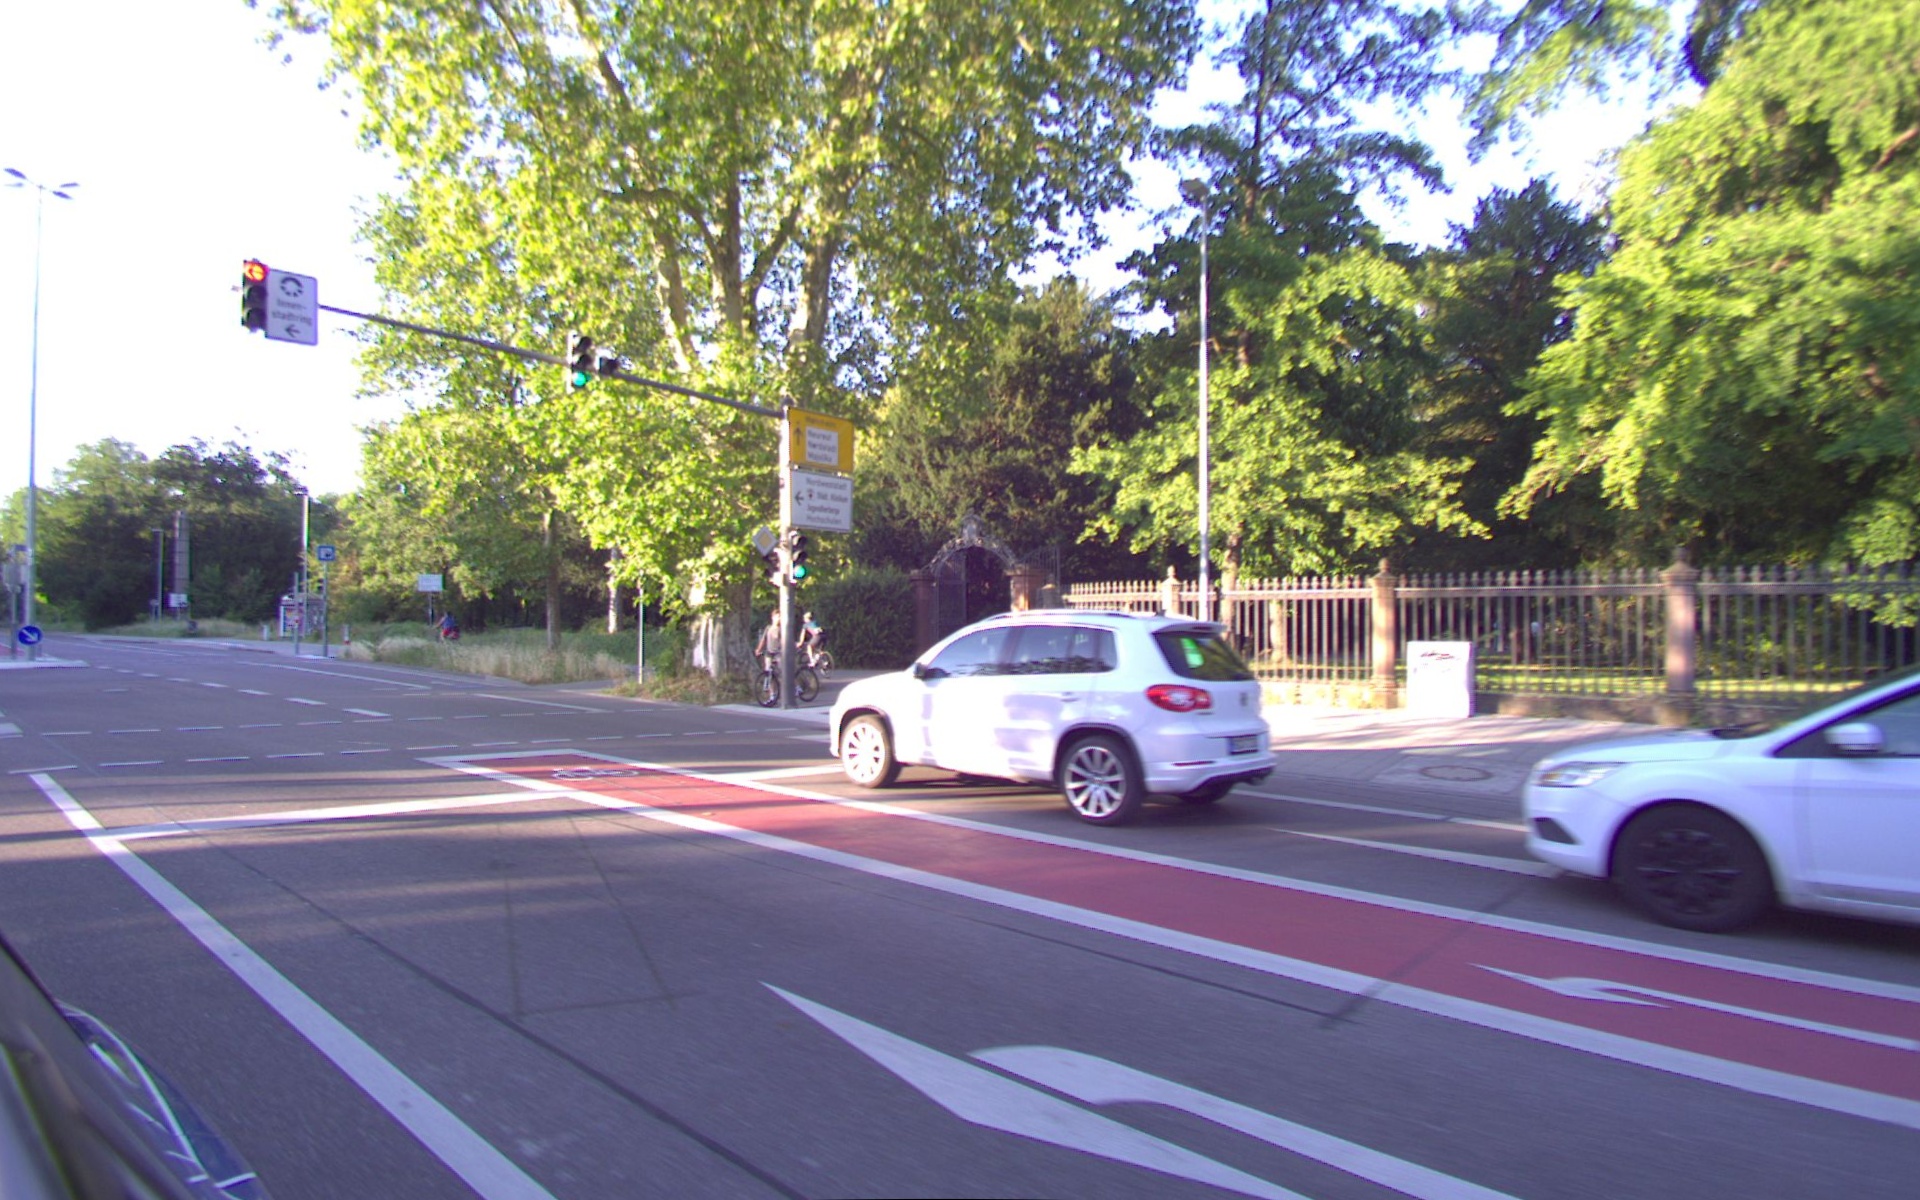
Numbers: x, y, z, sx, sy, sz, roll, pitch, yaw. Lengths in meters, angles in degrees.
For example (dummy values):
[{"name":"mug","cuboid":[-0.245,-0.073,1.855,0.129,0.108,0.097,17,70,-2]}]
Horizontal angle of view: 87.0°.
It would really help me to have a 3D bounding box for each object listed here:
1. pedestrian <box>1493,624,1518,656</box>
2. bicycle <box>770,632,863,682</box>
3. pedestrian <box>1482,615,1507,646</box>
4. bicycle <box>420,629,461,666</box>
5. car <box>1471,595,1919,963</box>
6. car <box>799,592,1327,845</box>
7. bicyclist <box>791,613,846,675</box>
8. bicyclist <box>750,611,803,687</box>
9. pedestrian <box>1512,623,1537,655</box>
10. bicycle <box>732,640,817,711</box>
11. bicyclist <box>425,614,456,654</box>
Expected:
[{"name":"pedestrian","cuboid":[29.378,2.139,54.481,0.860,1.672,0.907,1,-2,-39]},{"name":"bicycle","cuboid":[-3.565,1.400,25.071,2.189,1.023,0.849,4,-1,30]},{"name":"pedestrian","cuboid":[29.221,1.678,55.340,0.860,1.672,0.907,1,-2,-39]},{"name":"bicycle","cuboid":[-18.951,1.715,36.901,1.980,1.266,0.780,-1,-1,45]},{"name":"car","cuboid":[5.204,0.810,4.781,4.671,1.595,1.896,-1,-3,41]},{"name":"car","cuboid":[0.738,0.875,9.050,4.424,1.708,1.896,-1,-3,41]},{"name":"bicyclist","cuboid":[-3.503,1.082,25.061,0.940,1.442,0.849,4,-1,30]},{"name":"bicyclist","cuboid":[-3.440,0.902,18.981,0.572,1.372,0.829,-1,-1,36]},{"name":"pedestrian","cuboid":[30.003,2.063,53.800,0.860,1.672,0.907,1,-2,-39]},{"name":"bicycle","cuboid":[-3.460,1.391,18.976,0.572,1.239,1.612,-1,-1,36]},{"name":"bicyclist","cuboid":[-18.937,1.242,36.893,0.892,1.438,0.780,-1,-2,44]}]
